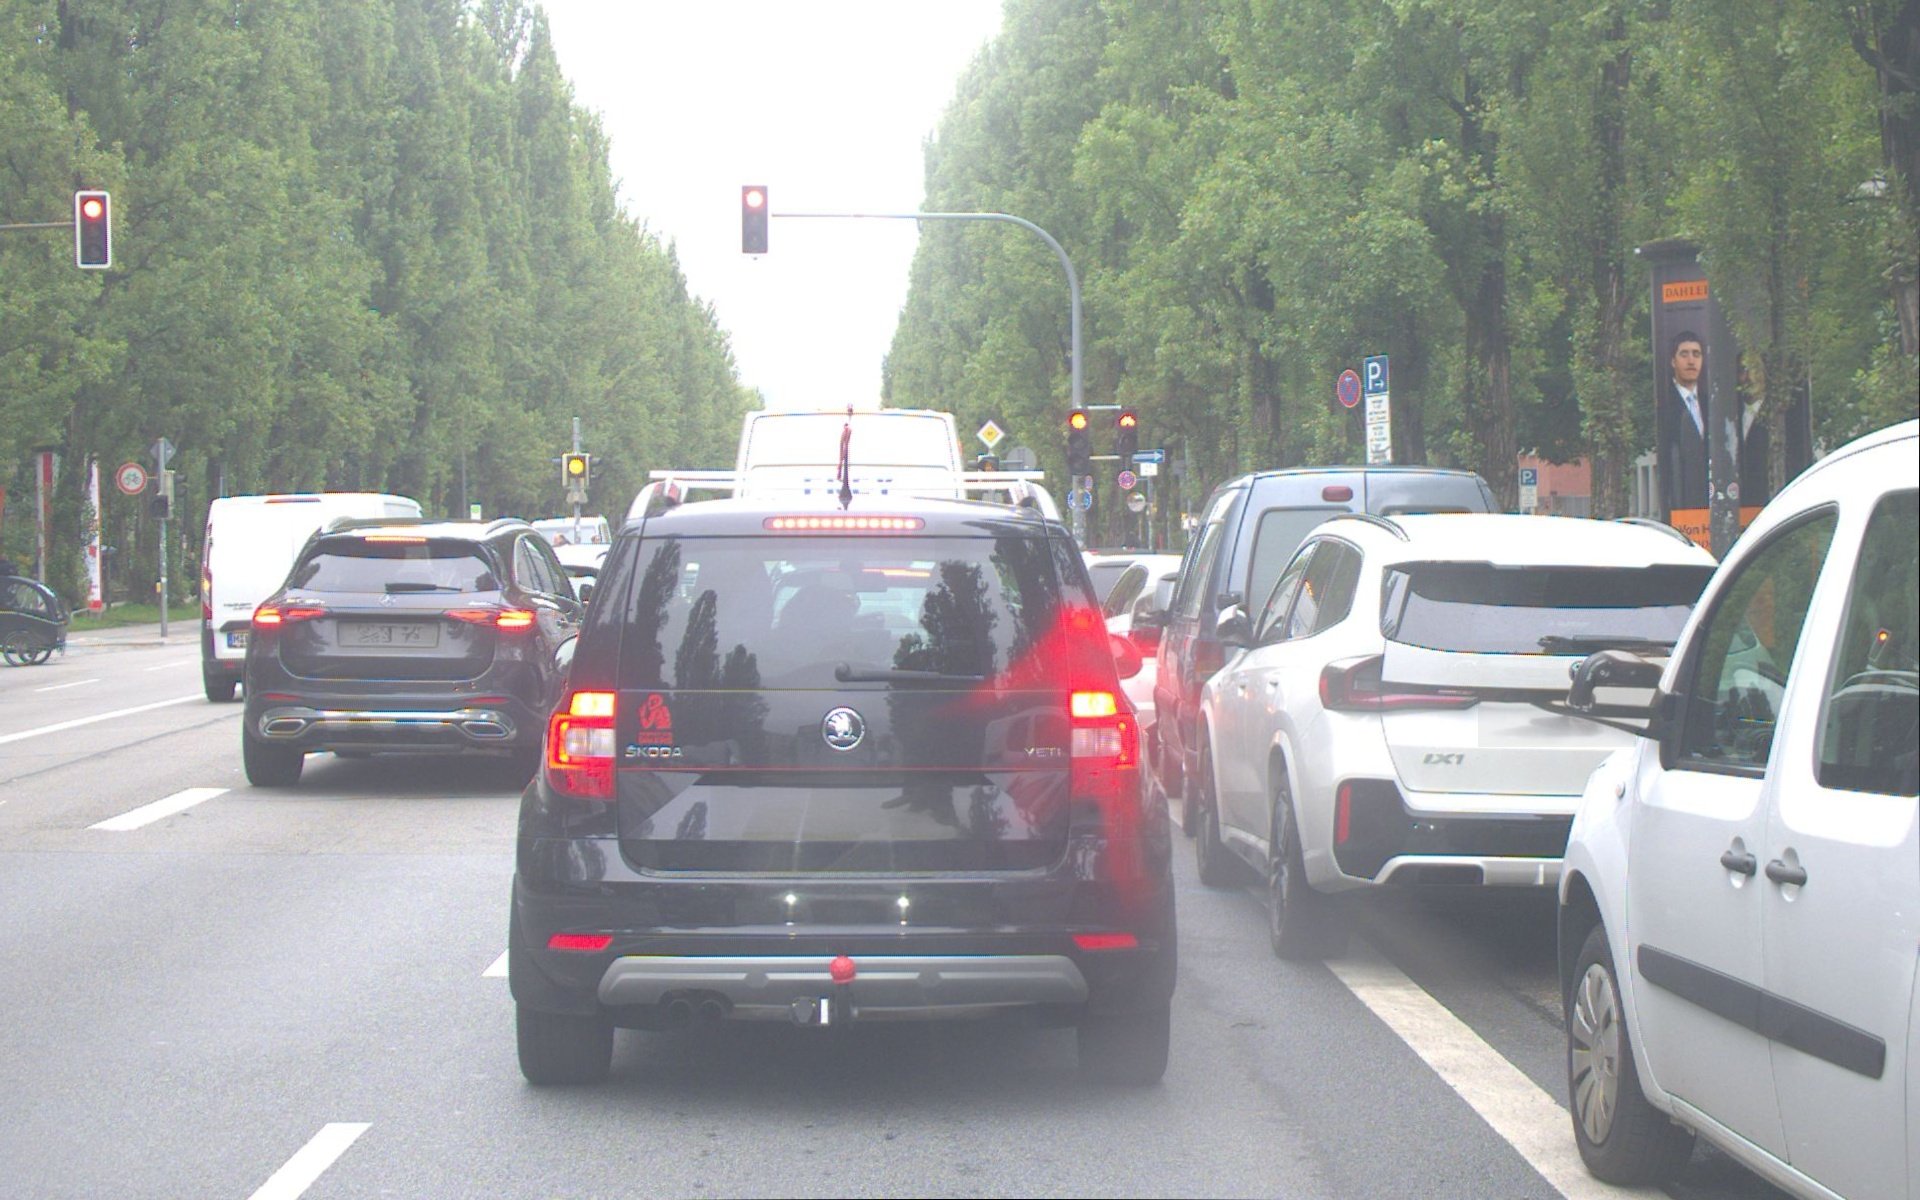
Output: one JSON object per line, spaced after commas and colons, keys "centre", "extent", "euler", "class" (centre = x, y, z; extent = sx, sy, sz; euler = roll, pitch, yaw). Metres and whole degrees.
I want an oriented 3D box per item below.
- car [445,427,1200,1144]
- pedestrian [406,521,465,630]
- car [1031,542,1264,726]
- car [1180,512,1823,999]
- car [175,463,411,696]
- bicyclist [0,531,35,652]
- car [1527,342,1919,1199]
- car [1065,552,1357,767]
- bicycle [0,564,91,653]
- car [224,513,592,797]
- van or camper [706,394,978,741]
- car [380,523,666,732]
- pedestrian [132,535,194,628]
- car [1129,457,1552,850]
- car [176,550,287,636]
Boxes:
{"centre": [-0.391, 0.430, 10.613], "extent": [1.855, 1.764, 4.000], "euler": [1, 1, -1], "class": "car"}
{"centre": [-9.817, -0.466, 64.377], "extent": [0.885, 2.007, 1.013], "euler": [-1, 1, 2], "class": "pedestrian"}
{"centre": [1.581, 0.248, 30.146], "extent": [1.735, 1.470, 3.563], "euler": [-1, 1, -2], "class": "car"}
{"centre": [1.933, 0.465, 13.498], "extent": [1.741, 1.587, 4.212], "euler": [-1, 1, -1], "class": "car"}
{"centre": [-6.441, -0.224, 33.581], "extent": [1.781, 2.104, 4.025], "euler": [-1, 1, -4], "class": "car"}
{"centre": [-13.912, -0.128, 49.437], "extent": [0.906, 1.716, 0.824], "euler": [-1, 1, 8], "class": "bicyclist"}
{"centre": [2.399, 0.498, 6.355], "extent": [1.851, 1.875, 4.169], "euler": [-1, 1, -2], "class": "car"}
{"centre": [1.742, 0.371, 24.847], "extent": [1.735, 1.382, 3.563], "euler": [-1, 1, -2], "class": "car"}
{"centre": [-13.878, 0.129, 49.432], "extent": [2.536, 1.233, 0.812], "euler": [-1, 1, 9], "class": "bicycle"}
{"centre": [-3.405, 0.271, 21.877], "extent": [1.781, 1.614, 4.025], "euler": [1, 1, -2], "class": "car"}
{"centre": [-0.982, -0.289, 27.447], "extent": [1.975, 2.539, 4.025], "euler": [-1, 1, -3], "class": "van or camper"}
{"centre": [-3.538, 0.167, 28.488], "extent": [1.993, 1.555, 4.001], "euler": [-1, 2, -2], "class": "car"}
{"centre": [-15.355, -0.361, 66.278], "extent": [0.880, 1.758, 0.878], "euler": [-1, 1, 8], "class": "pedestrian"}
{"centre": [1.959, 0.212, 18.770], "extent": [1.735, 1.888, 4.025], "euler": [-1, 1, -2], "class": "car"}
{"centre": [-15.833, -0.170, 74.849], "extent": [1.688, 1.776, 3.775], "euler": [-1, 1, -1], "class": "car"}
